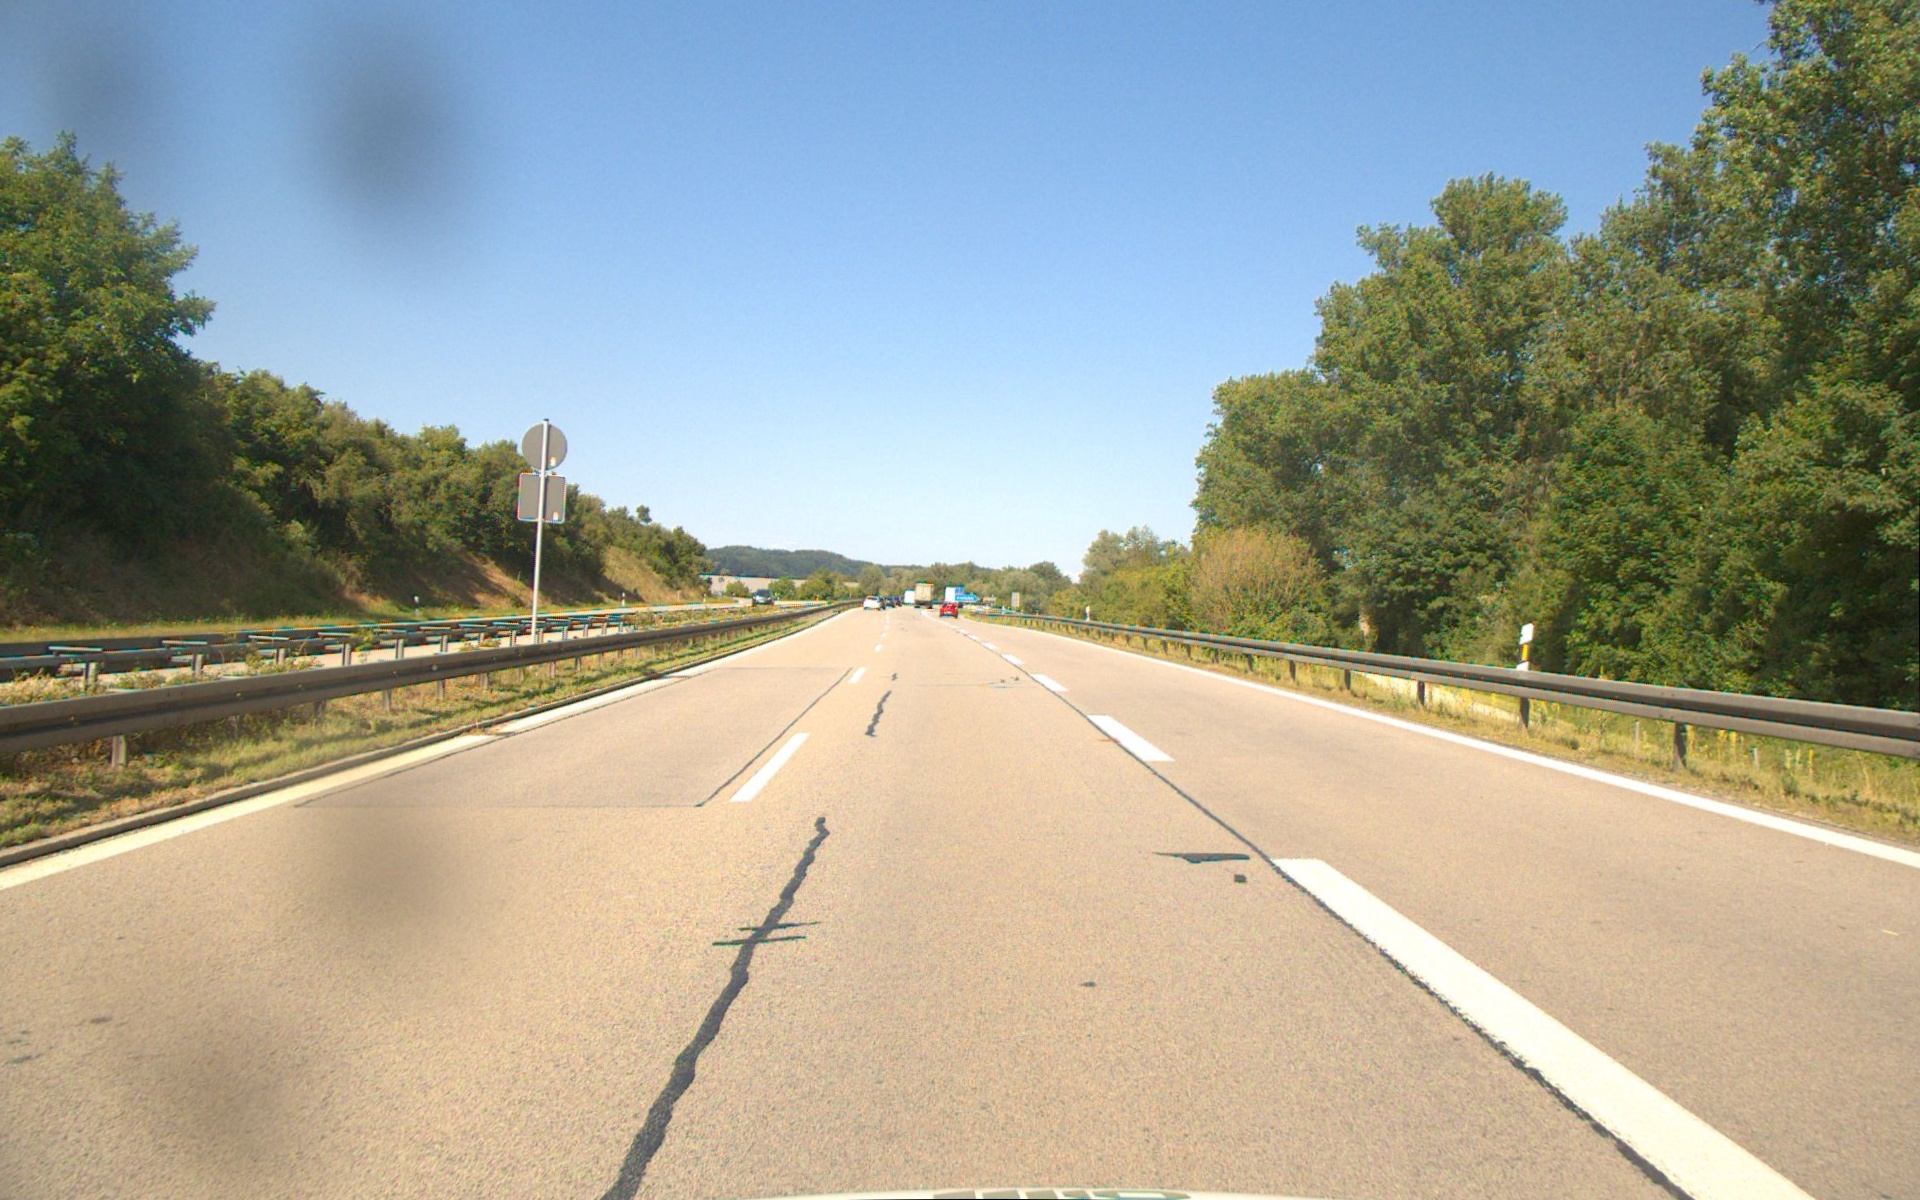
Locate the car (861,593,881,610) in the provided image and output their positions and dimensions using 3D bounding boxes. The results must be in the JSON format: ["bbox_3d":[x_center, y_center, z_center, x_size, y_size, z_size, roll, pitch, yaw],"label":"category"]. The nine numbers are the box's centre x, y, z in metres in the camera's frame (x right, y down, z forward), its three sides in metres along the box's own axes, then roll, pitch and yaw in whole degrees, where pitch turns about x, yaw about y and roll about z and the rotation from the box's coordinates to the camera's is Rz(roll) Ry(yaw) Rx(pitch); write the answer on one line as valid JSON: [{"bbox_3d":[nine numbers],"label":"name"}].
[{"bbox_3d":[-9.373,0.156,174.832,2.020,1.653,3.997,1,-2,-2],"label":"car"}]

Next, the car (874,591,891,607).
[{"bbox_3d":[-8.957,-0.151,191.327,1.954,1.780,3.998,2,0,-3],"label":"car"}]

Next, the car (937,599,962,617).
[{"bbox_3d":[-0.960,0.737,155.223,1.746,1.456,4.002,5,-1,6],"label":"car"}]

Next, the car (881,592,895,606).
[{"bbox_3d":[-10.060,-0.163,231.776,1.954,1.780,3.998,2,0,-3],"label":"car"}]

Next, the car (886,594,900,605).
[{"bbox_3d":[-10.563,-0.090,261.493,1.953,1.780,4.000,2,0,-1],"label":"car"}]

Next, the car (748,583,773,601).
[{"bbox_3d":[-19.539,-0.724,161.993,1.953,1.673,5.081,1,0,-2],"label":"car"}]
